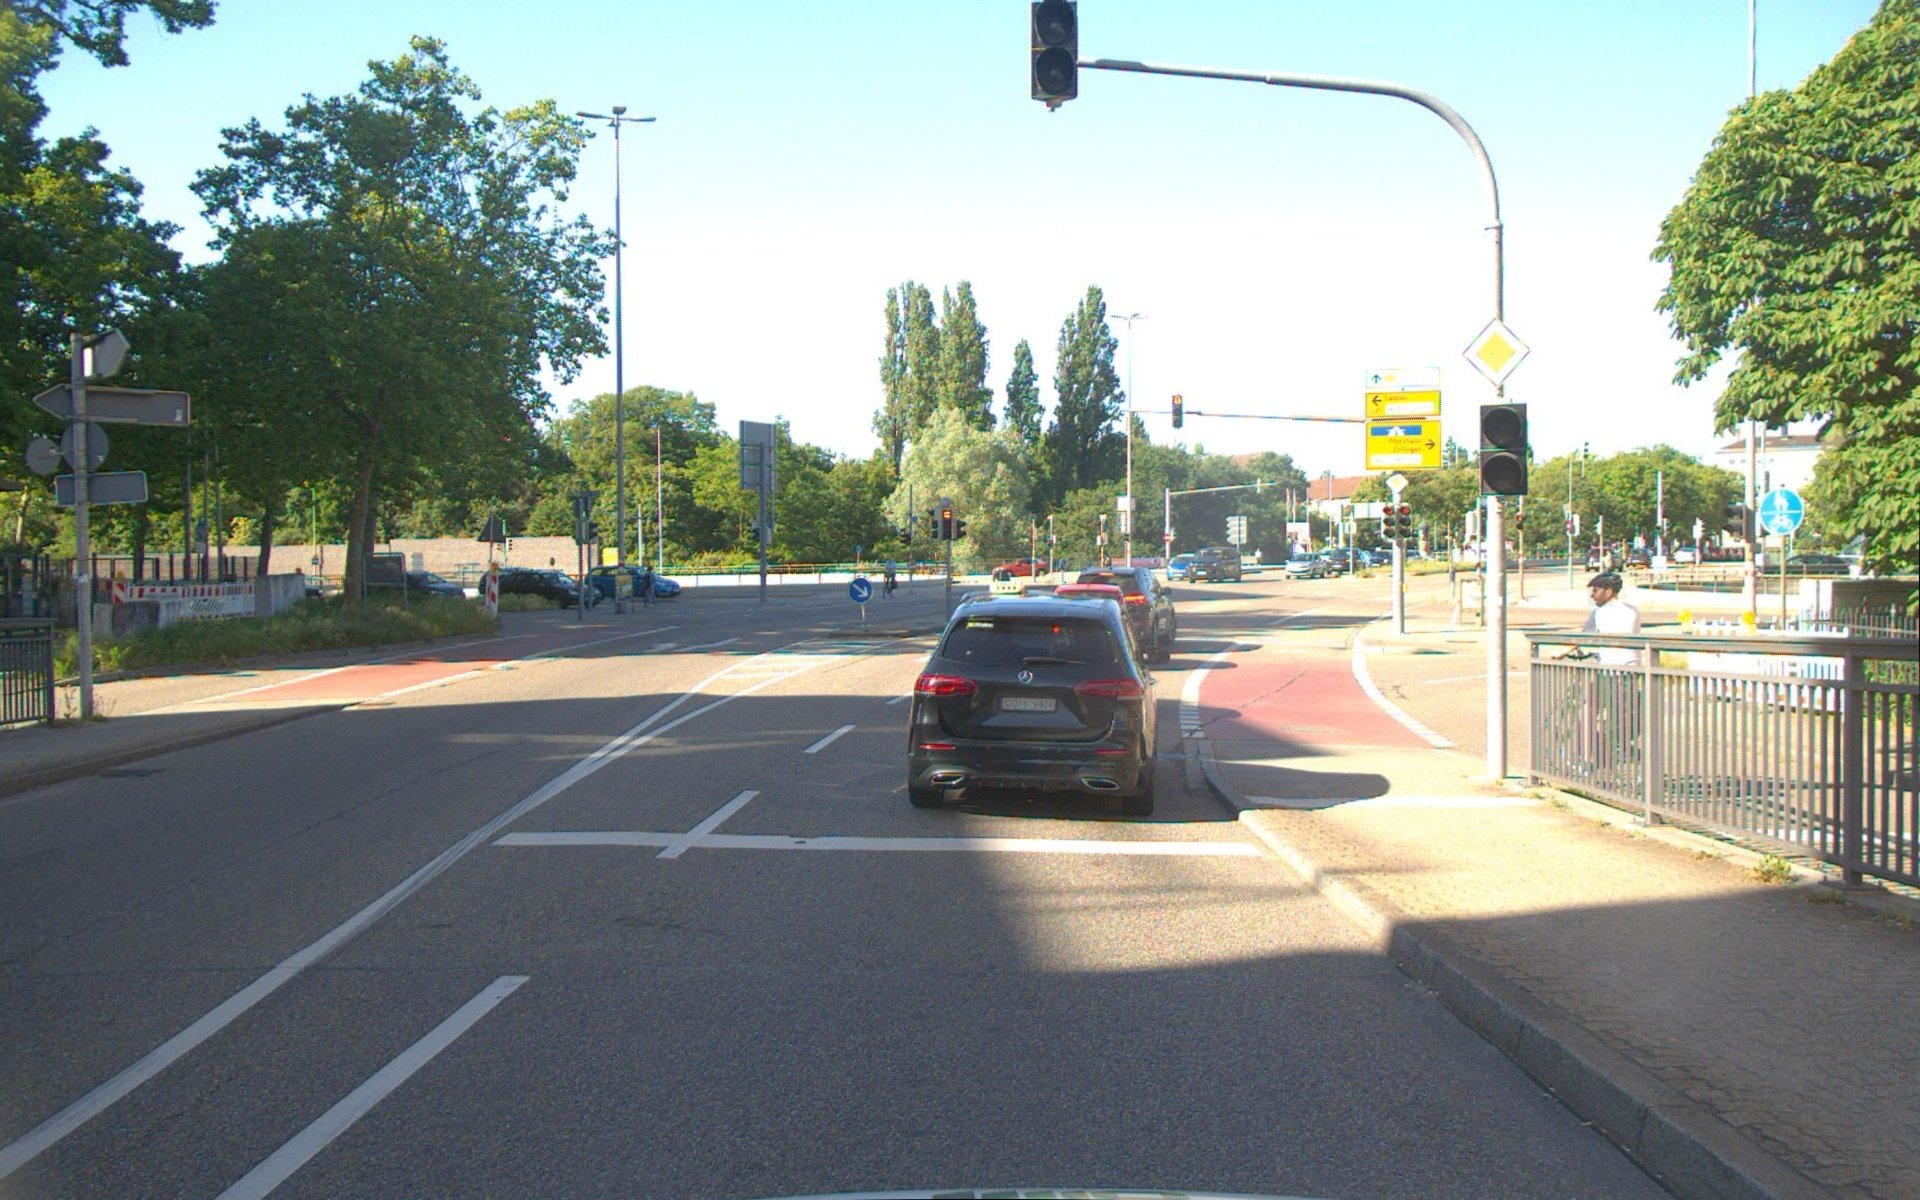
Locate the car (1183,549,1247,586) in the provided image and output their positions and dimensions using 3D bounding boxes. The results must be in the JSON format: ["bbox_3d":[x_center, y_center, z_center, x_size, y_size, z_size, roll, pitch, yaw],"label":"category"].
[{"bbox_3d":[14.084,-1.815,91.167,1.956,1.969,4.845,0,2,29],"label":"car"}]

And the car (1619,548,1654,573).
[{"bbox_3d":[51.938,-3.028,126.932,1.957,1.825,3.992,0,1,31],"label":"car"}]

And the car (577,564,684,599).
[{"bbox_3d":[-14.429,-0.818,72.491,4.347,1.463,1.825,0,1,24],"label":"car"}]

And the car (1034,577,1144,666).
[{"bbox_3d":[2.467,0.345,30.952,1.781,1.505,4.004,1,1,8],"label":"car"}]

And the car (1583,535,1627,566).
[{"bbox_3d":[42.841,-3.265,109.810,1.959,1.825,3.987,0,-1,34],"label":"car"}]

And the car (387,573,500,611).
[{"bbox_3d":[-20.819,-0.339,66.600,4.351,1.463,1.824,0,2,28],"label":"car"}]

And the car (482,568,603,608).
[{"bbox_3d":[-15.831,-0.460,62.645,4.351,1.463,1.824,0,2,28],"label":"car"}]

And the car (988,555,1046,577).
[{"bbox_3d":[4.194,-2.530,122.081,3.915,1.575,1.995,-1,2,-11],"label":"car"}]

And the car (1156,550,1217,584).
[{"bbox_3d":[13.395,-1.966,97.639,1.956,1.897,4.845,0,2,29],"label":"car"}]

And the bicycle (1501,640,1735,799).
[{"bbox_3d":[5.621,0.976,14.335,0.784,1.130,2.398,0,2,-8],"label":"bicycle"}]

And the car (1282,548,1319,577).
[{"bbox_3d":[19.963,-2.223,96.884,1.781,1.610,4.107,0,2,17],"label":"car"}]

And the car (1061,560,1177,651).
[{"bbox_3d":[3.568,0.056,36.396,1.829,1.821,4.418,2,2,15],"label":"car"}]

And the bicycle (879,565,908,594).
[{"bbox_3d":[-2.912,-0.913,72.743,0.672,1.223,2.329,0,3,13],"label":"bicycle"}]

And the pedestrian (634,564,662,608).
[{"bbox_3d":[-11.761,-0.514,62.421,0.672,1.565,1.366,1,-3,4],"label":"pedestrian"}]

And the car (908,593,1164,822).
[{"bbox_3d":[0.646,0.732,13.068,1.714,1.520,4.002,0,0,4],"label":"car"}]

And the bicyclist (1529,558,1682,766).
[{"bbox_3d":[5.623,0.520,14.470,0.784,1.735,1.083,1,0,-9],"label":"bicyclist"}]

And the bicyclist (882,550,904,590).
[{"bbox_3d":[-2.949,-1.309,72.578,0.672,1.730,1.199,0,2,13],"label":"bicyclist"}]

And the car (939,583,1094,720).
[{"bbox_3d":[0.728,0.584,21.229,1.782,1.515,4.002,-1,1,2],"label":"car"}]

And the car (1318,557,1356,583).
[{"bbox_3d":[24.309,-1.950,106.541,1.688,1.610,4.003,0,2,23],"label":"car"}]

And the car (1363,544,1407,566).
[{"bbox_3d":[29.783,-3.163,115.773,1.957,1.478,3.991,1,1,31],"label":"car"}]

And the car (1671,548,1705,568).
[{"bbox_3d":[62.940,-3.602,142.953,1.959,1.668,3.988,0,1,34],"label":"car"}]
